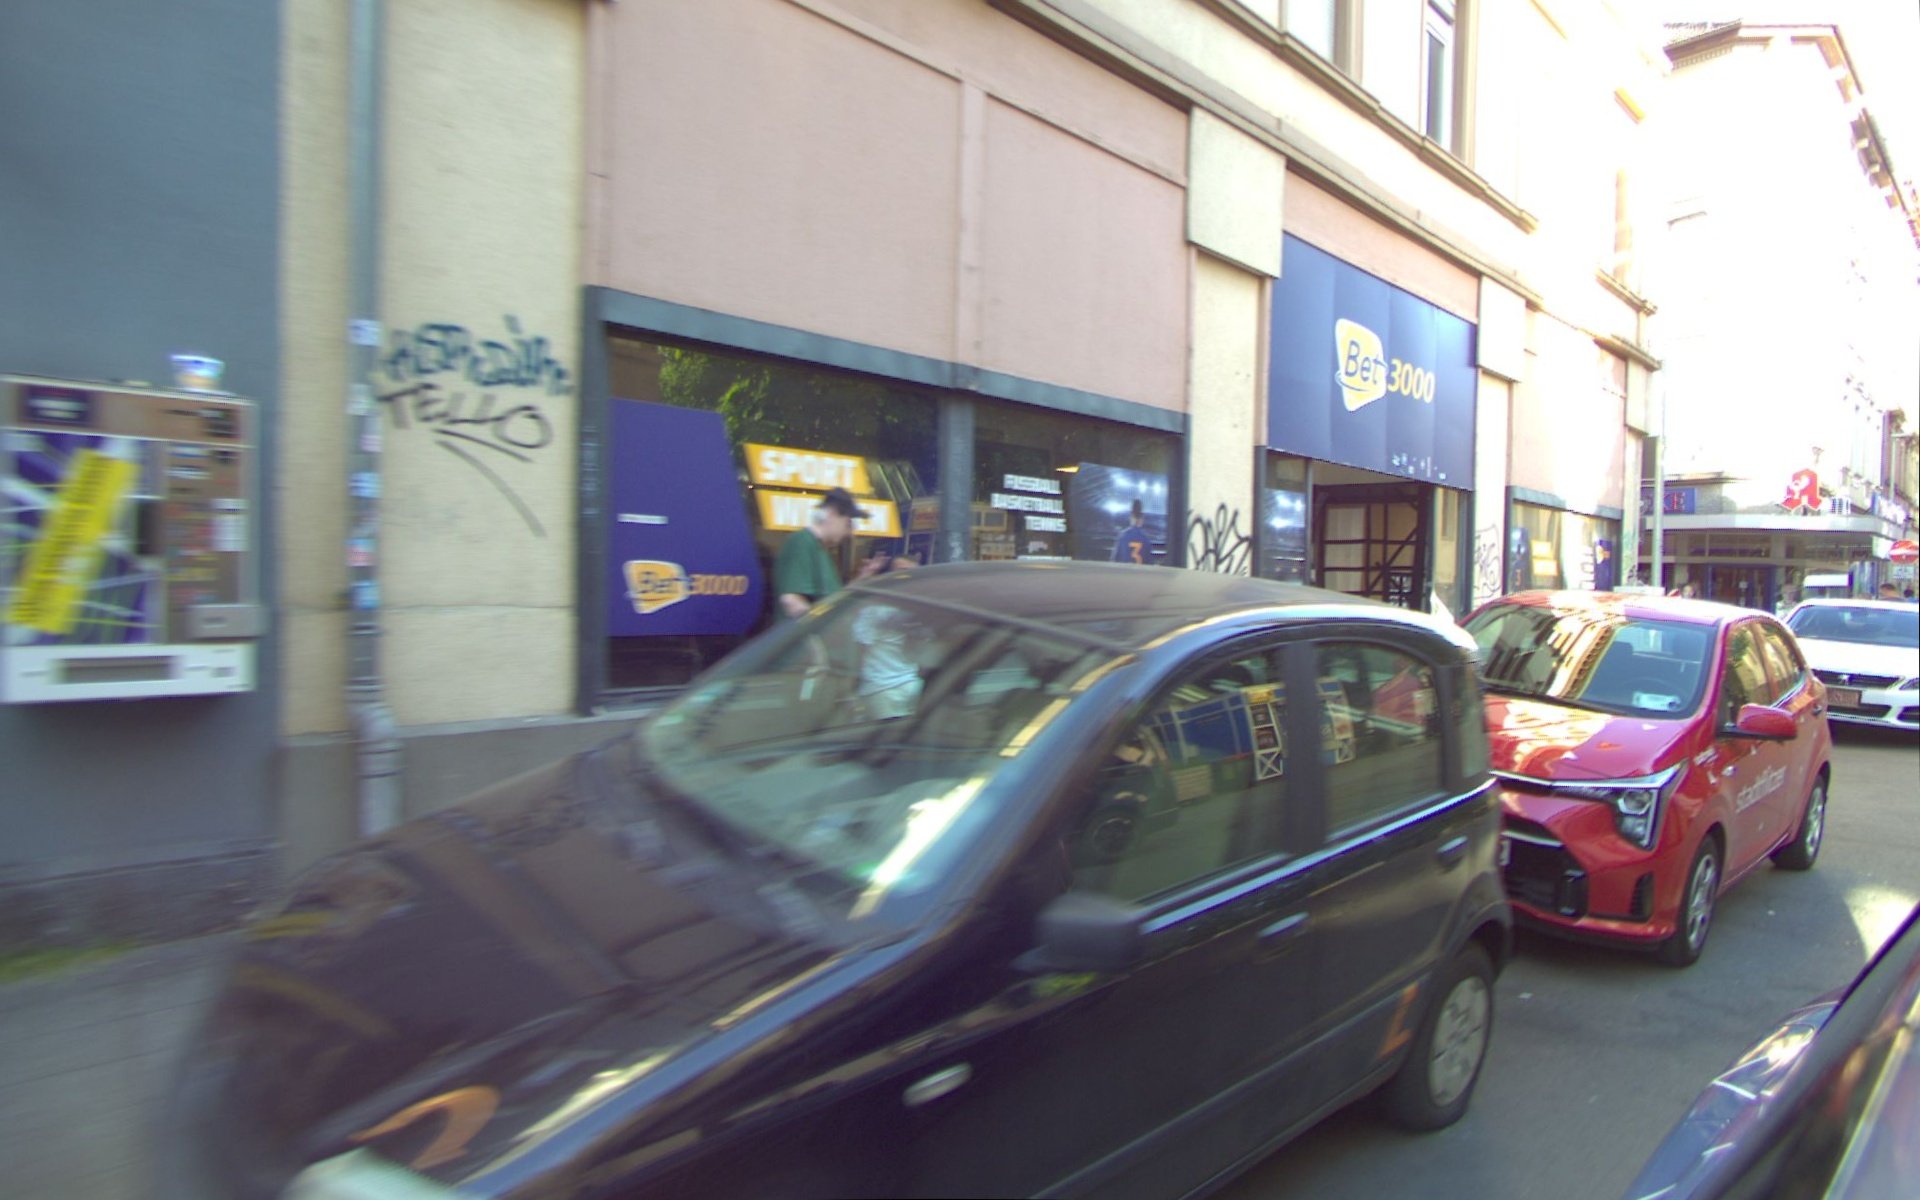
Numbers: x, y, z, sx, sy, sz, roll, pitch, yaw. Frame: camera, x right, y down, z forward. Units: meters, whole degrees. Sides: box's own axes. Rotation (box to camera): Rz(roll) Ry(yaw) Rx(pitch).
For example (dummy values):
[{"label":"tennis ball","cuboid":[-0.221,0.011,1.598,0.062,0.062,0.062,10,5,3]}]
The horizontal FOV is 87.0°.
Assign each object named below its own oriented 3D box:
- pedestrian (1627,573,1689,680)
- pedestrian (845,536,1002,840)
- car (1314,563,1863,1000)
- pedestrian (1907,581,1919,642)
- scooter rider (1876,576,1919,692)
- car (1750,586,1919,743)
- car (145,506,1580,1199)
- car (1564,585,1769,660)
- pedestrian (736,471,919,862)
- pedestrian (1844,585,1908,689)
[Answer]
[{"label":"pedestrian","cuboid":[11.240,0.410,16.308,0.455,1.671,0.602,3,0,-10]},{"label":"pedestrian","cuboid":[-0.200,0.439,5.592,0.587,1.549,0.648,0,1,43]},{"label":"car","cuboid":[3.540,0.625,5.455,3.493,1.592,1.609,-1,1,-42]},{"label":"pedestrian","cuboid":[30.173,0.353,31.808,0.521,1.917,0.562,0,1,-42]},{"label":"scooter rider","cuboid":[14.955,0.517,15.908,0.554,1.800,0.612,0,0,-2]},{"label":"car","cuboid":[10.690,0.614,11.797,4.068,1.535,1.788,-1,1,-44]},{"label":"car","cuboid":[0.031,0.638,2.565,3.255,1.575,1.574,-1,5,-40]},{"label":"car","cuboid":[16.300,0.450,23.467,1.758,1.504,3.580,-1,2,-41]},{"label":"pedestrian","cuboid":[-0.648,0.292,5.008,0.626,1.762,0.650,0,1,36]},{"label":"pedestrian","cuboid":[14.918,0.593,16.491,0.555,1.659,0.528,0,0,3]}]
